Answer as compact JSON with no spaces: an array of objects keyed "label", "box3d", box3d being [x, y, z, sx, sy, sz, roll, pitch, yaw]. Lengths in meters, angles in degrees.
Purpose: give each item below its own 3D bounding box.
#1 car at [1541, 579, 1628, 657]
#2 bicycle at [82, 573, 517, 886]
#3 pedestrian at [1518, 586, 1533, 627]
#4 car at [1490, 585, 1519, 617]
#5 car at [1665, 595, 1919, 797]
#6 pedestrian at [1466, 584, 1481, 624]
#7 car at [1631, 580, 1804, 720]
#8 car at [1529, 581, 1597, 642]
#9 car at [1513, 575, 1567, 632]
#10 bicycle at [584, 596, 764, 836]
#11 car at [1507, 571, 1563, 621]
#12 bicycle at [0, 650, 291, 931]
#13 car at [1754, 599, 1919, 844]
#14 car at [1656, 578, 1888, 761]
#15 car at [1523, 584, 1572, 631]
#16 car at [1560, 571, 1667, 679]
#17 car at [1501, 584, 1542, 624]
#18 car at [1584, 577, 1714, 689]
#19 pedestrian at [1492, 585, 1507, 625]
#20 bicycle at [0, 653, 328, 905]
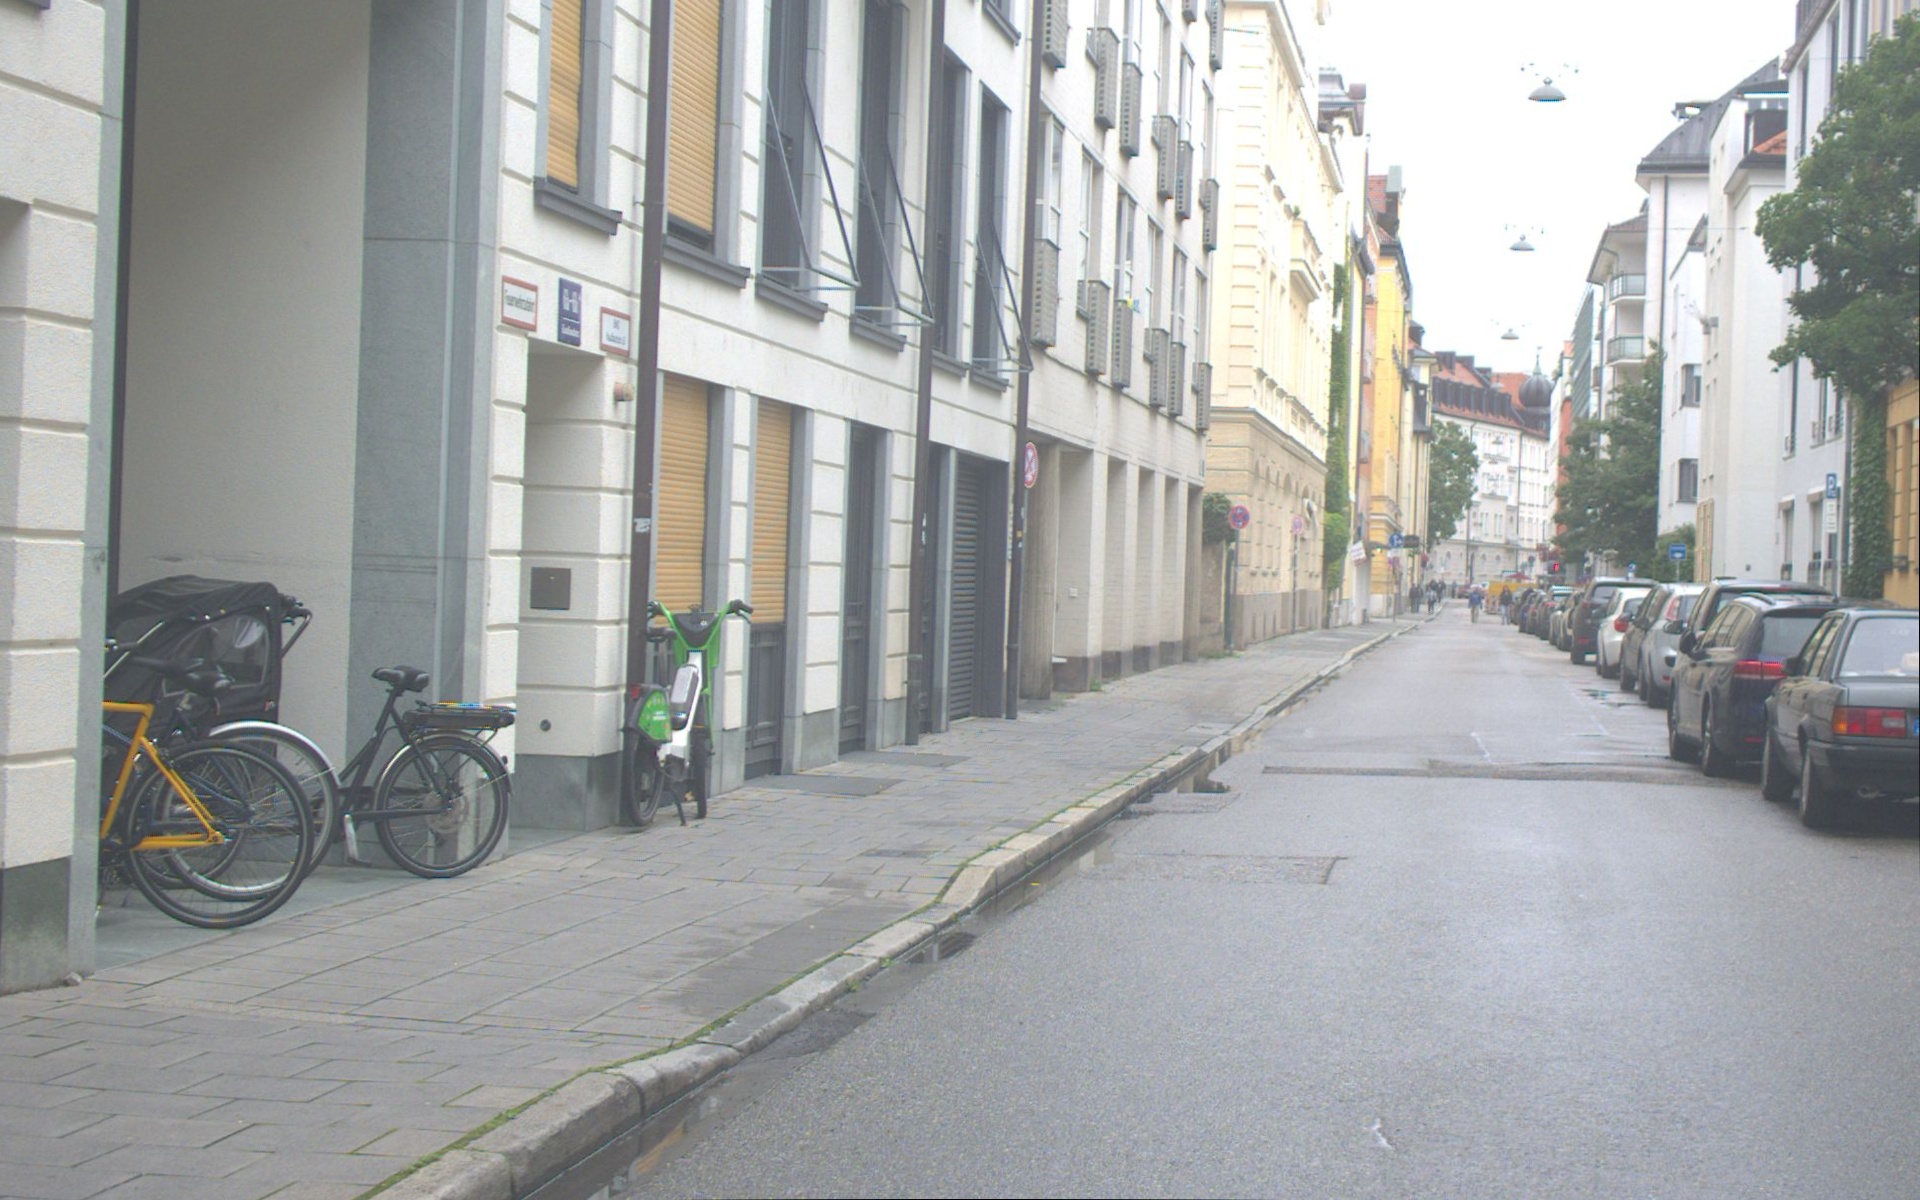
[{"label":"car","box3d":[14.184,0.387,78.232,1.701,1.618,3.773,3,1,8]},{"label":"bicycle","box3d":[-2.660,0.524,13.962,1.681,1.189,0.380,2,3,-38]},{"label":"pedestrian","box3d":[22.711,0.254,138.148,0.539,1.648,0.376,2,1,9]},{"label":"car","box3d":[30.067,0.062,189.979,1.365,1.651,3.465,2,1,7]},{"label":"car","box3d":[6.733,0.709,27.287,1.894,1.372,3.939,3,1,8]},{"label":"pedestrian","box3d":[21.046,0.160,140.856,0.539,1.648,0.376,2,1,9]},{"label":"car","box3d":[9.280,0.577,42.331,1.701,1.540,3.773,3,1,8]},{"label":"car","box3d":[17.440,0.319,99.510,1.701,1.618,3.773,3,1,8]},{"label":"car","box3d":[20.867,0.118,123.768,1.701,1.910,3.773,3,1,8]},{"label":"bicycle","box3d":[-1.440,0.564,17.643,0.340,1.142,2.190,2,0,10]},{"label":"car","box3d":[19.758,-0.147,118.161,1.758,1.624,3.591,2,1,8]},{"label":"bicycle","box3d":[-2.957,0.676,12.158,1.063,0.944,0.308,3,2,-25]},{"label":"car","box3d":[6.268,0.744,22.019,1.894,1.372,3.795,3,1,8]},{"label":"car","box3d":[7.627,0.605,32.566,1.701,1.540,3.773,3,1,8]},{"label":"car","box3d":[22.822,0.278,133.593,1.657,1.693,3.456,2,1,7]},{"label":"car","box3d":[12.277,0.441,64.745,1.701,1.894,3.773,3,1,8]},{"label":"car","box3d":[25.571,0.171,156.670,1.657,1.693,3.456,2,1,7]},{"label":"car","box3d":[10.889,0.487,54.522,1.701,1.618,3.773,3,1,8]},{"label":"pedestrian","box3d":[22.244,0.202,141.795,0.539,1.648,0.376,2,1,9]},{"label":"bicycle","box3d":[-3.116,0.670,12.840,1.386,0.885,0.380,3,2,-25]}]
